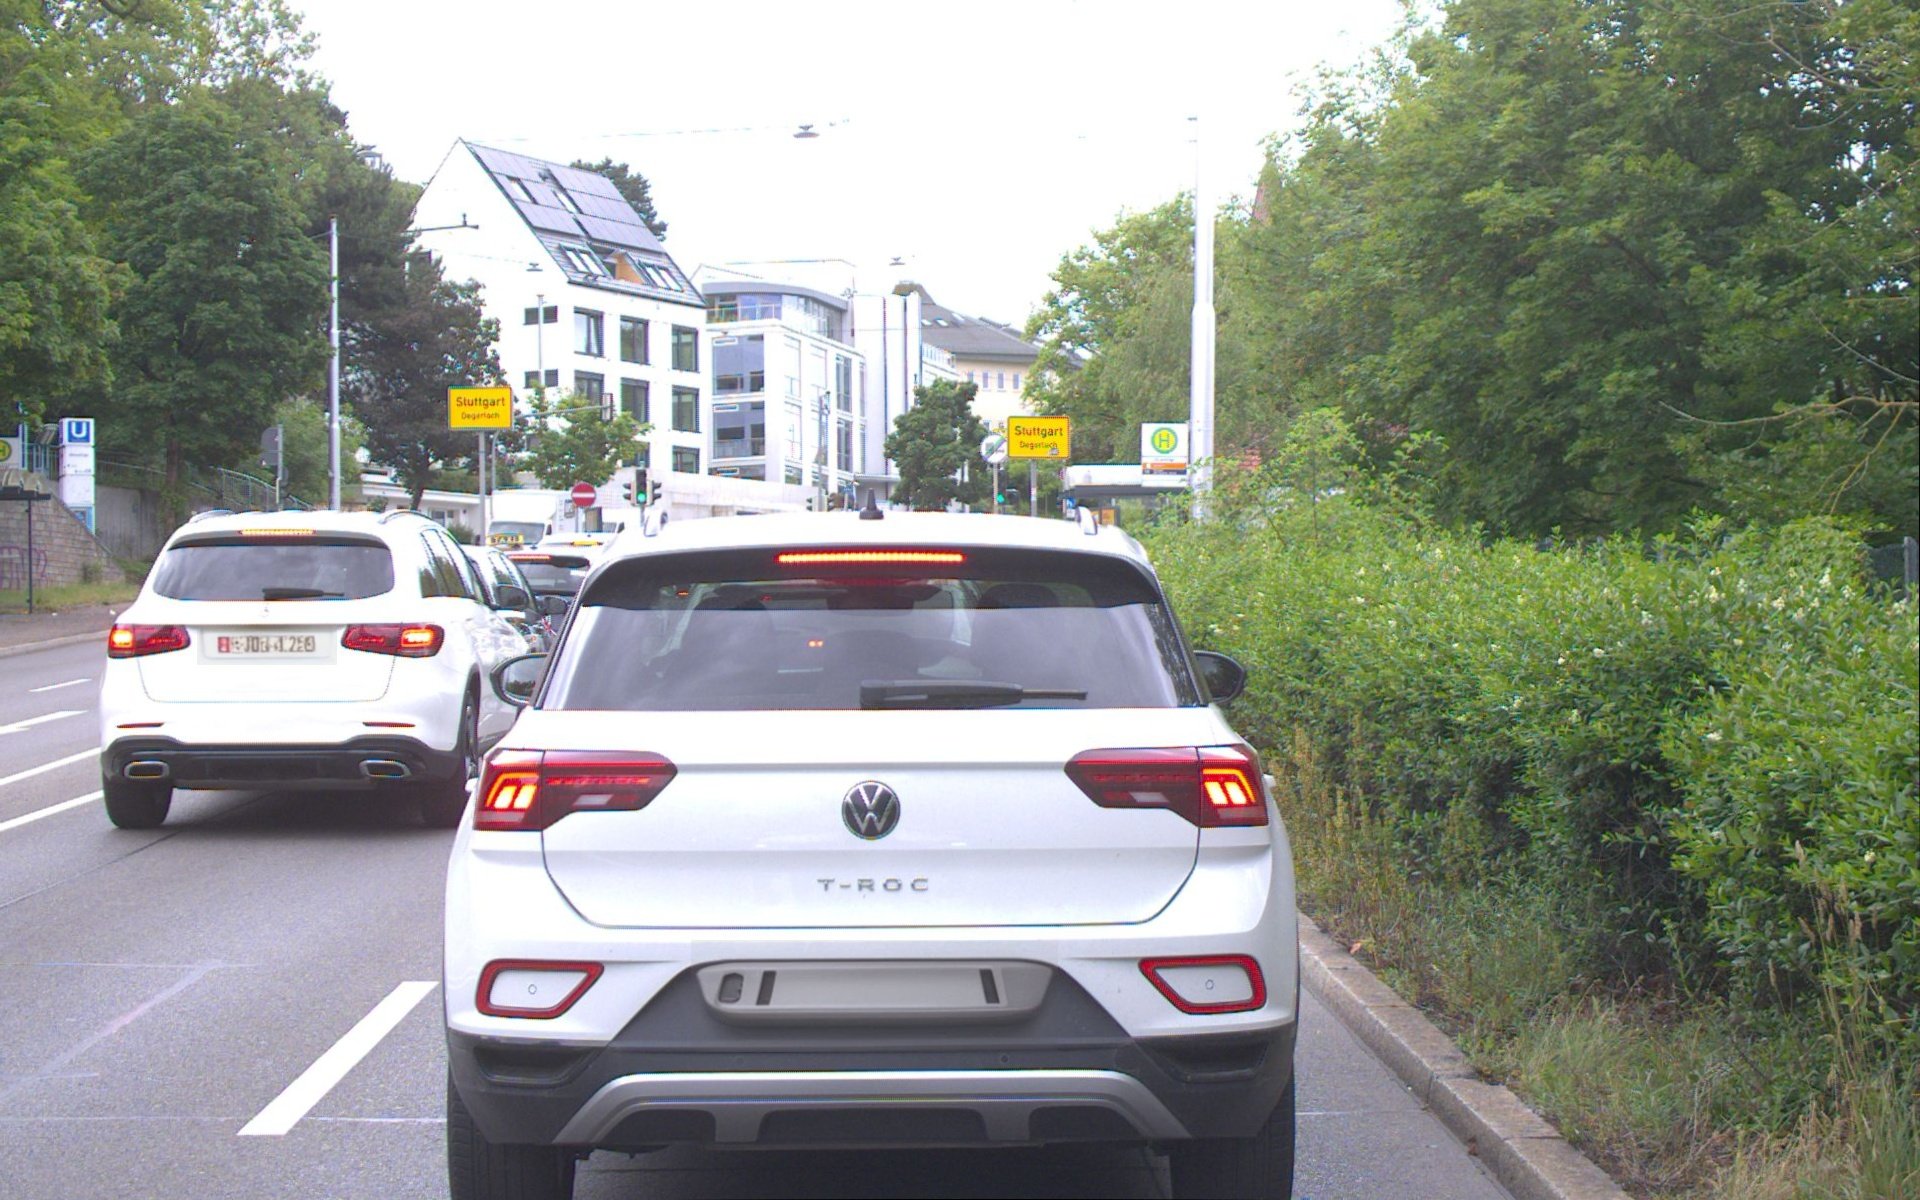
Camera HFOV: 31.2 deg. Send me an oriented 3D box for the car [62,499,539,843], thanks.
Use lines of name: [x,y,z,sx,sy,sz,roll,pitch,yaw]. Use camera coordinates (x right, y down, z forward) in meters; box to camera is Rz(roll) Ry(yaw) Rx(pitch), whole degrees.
car: [-3.449,0.311,18.719,1.918,1.664,4.000,0,1,-1]

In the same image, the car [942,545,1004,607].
car: [0.430,-0.839,116.932,1.993,2.007,4.000,-1,1,-1]

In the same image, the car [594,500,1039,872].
car: [-0.647,0.321,16.348,1.829,1.520,4.000,-1,1,-1]

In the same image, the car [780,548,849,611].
car: [-4.066,-0.596,96.559,1.815,1.651,3.929,-2,1,-1]

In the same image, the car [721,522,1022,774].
car: [-0.597,0.258,23.213,1.829,1.520,4.000,-1,1,-1]

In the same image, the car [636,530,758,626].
car: [-4.387,-0.390,57.839,1.829,1.520,4.000,-1,1,-1]

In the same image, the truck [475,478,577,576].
truck: [-14.077,-2.359,111.922,2.293,3.040,6.979,-1,1,1]

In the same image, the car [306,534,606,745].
car: [-3.852,0.245,26.876,1.829,1.492,4.000,-1,1,-1]

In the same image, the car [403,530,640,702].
car: [-4.149,0.109,33.081,1.829,1.520,4.000,-1,1,-1]

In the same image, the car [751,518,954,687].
car: [-1.033,-0.014,33.496,1.829,1.520,4.000,-1,1,-1]

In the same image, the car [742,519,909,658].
car: [-1.548,-0.165,40.366,1.829,1.520,4.000,-1,1,-1]

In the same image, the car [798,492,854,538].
car: [-4.598,-2.922,118.190,1.829,1.520,4.000,-1,1,-1]

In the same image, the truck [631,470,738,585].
truck: [-6.923,-1.826,86.873,2.362,2.772,4.478,-2,1,-1]

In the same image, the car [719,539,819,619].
car: [-3.779,-0.443,68.567,1.829,1.520,4.000,-1,1,-1]

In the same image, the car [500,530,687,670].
car: [-4.234,-0.035,40.234,1.829,1.520,4.000,-1,1,-1]

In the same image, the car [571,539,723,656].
car: [-4.313,-0.071,47.873,1.829,1.520,4.000,-1,1,-1]

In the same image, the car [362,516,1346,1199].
car: [-0.244,0.574,8.429,1.829,1.520,4.000,0,1,-1]

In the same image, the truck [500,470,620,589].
truck: [-9.525,-1.675,82.204,2.362,2.697,4.478,-2,1,-1]
